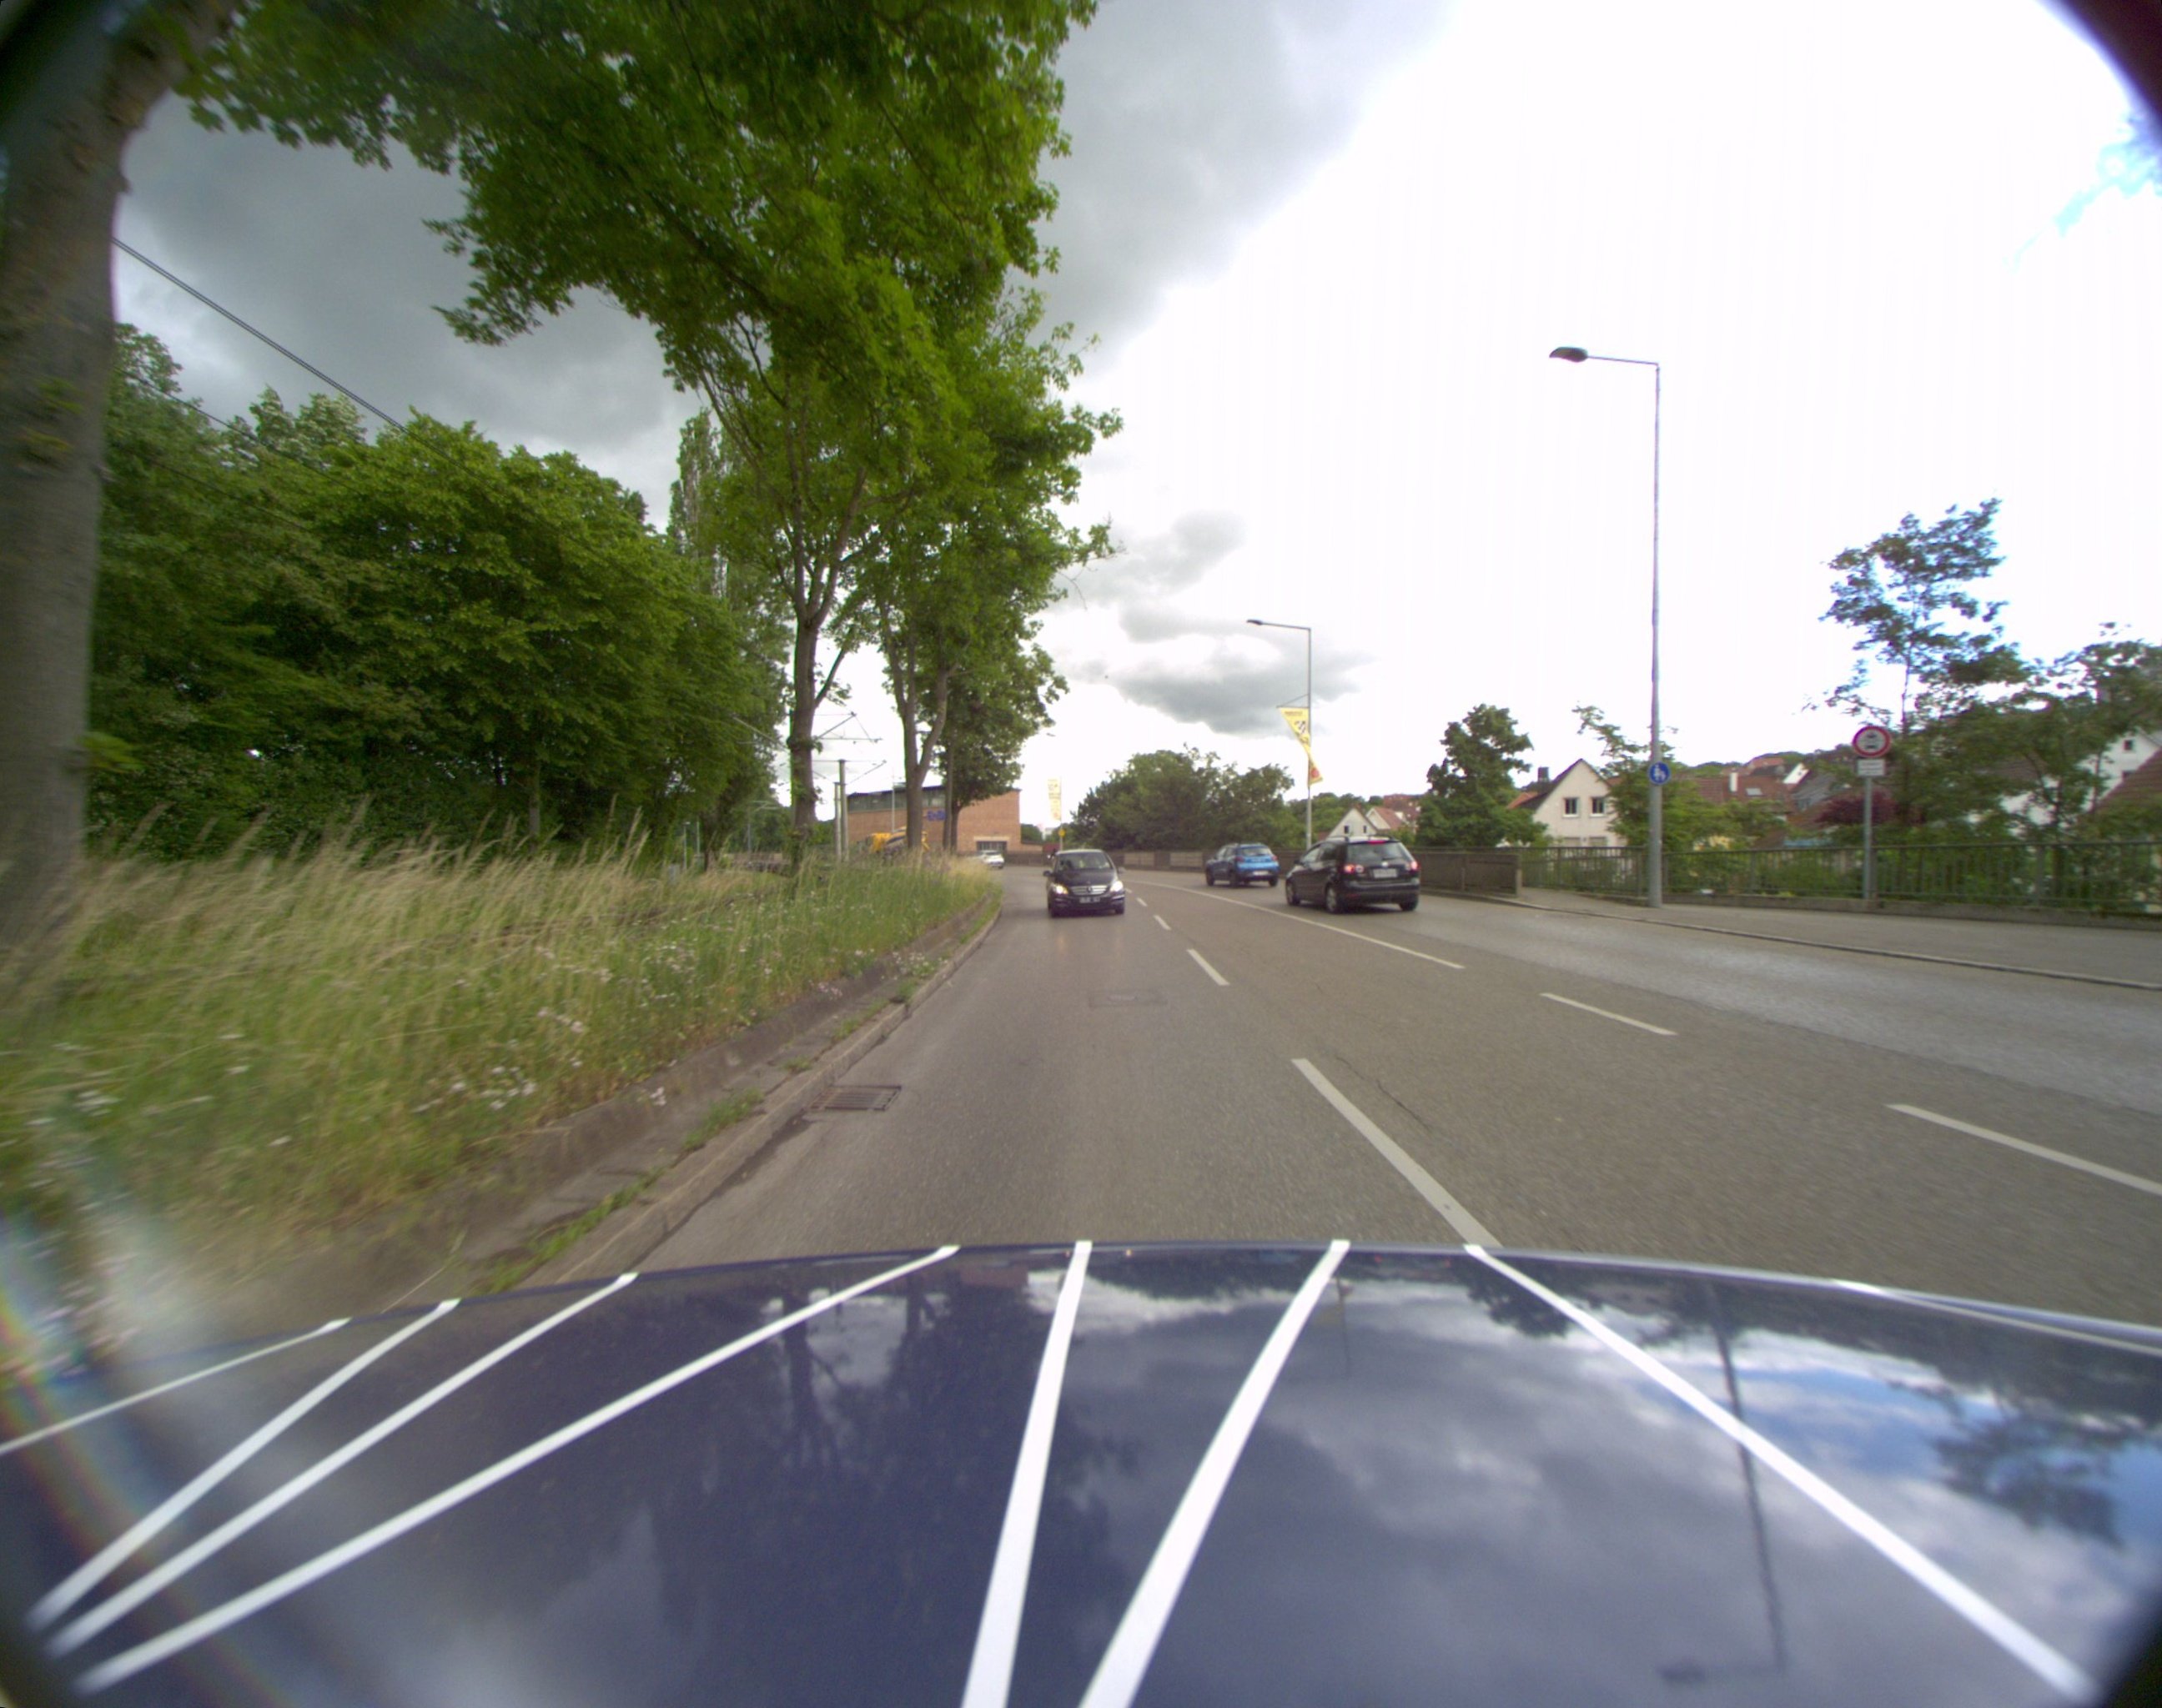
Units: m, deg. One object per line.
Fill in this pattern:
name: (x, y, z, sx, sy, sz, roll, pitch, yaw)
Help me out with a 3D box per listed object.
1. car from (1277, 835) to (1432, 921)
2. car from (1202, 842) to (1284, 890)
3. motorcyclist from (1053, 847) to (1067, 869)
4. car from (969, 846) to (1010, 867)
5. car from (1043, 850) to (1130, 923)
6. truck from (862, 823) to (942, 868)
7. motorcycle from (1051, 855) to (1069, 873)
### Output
car: (5.819, 0.444, 16.688, 1.725, 1.598, 4.012, -2, 1, -3)
car: (5.616, 0.386, 26.779, 1.585, 1.477, 3.693, -3, 1, -8)
motorcyclist: (-1.307, 0.220, 46.873, 0.621, 1.348, 0.839, -1, 1, -17)
car: (-7.296, 0.202, 60.325, 1.755, 1.479, 3.646, -3, 1, -31)
car: (0.032, 0.723, 19.245, 1.752, 1.556, 4.072, -3, 1, -5)
truck: (-17.458, -0.779, 73.518, 2.682, 3.916, 10.111, -5, 2, -42)
motorcycle: (-1.317, 0.585, 46.965, 0.685, 1.055, 1.717, -1, 1, -17)
